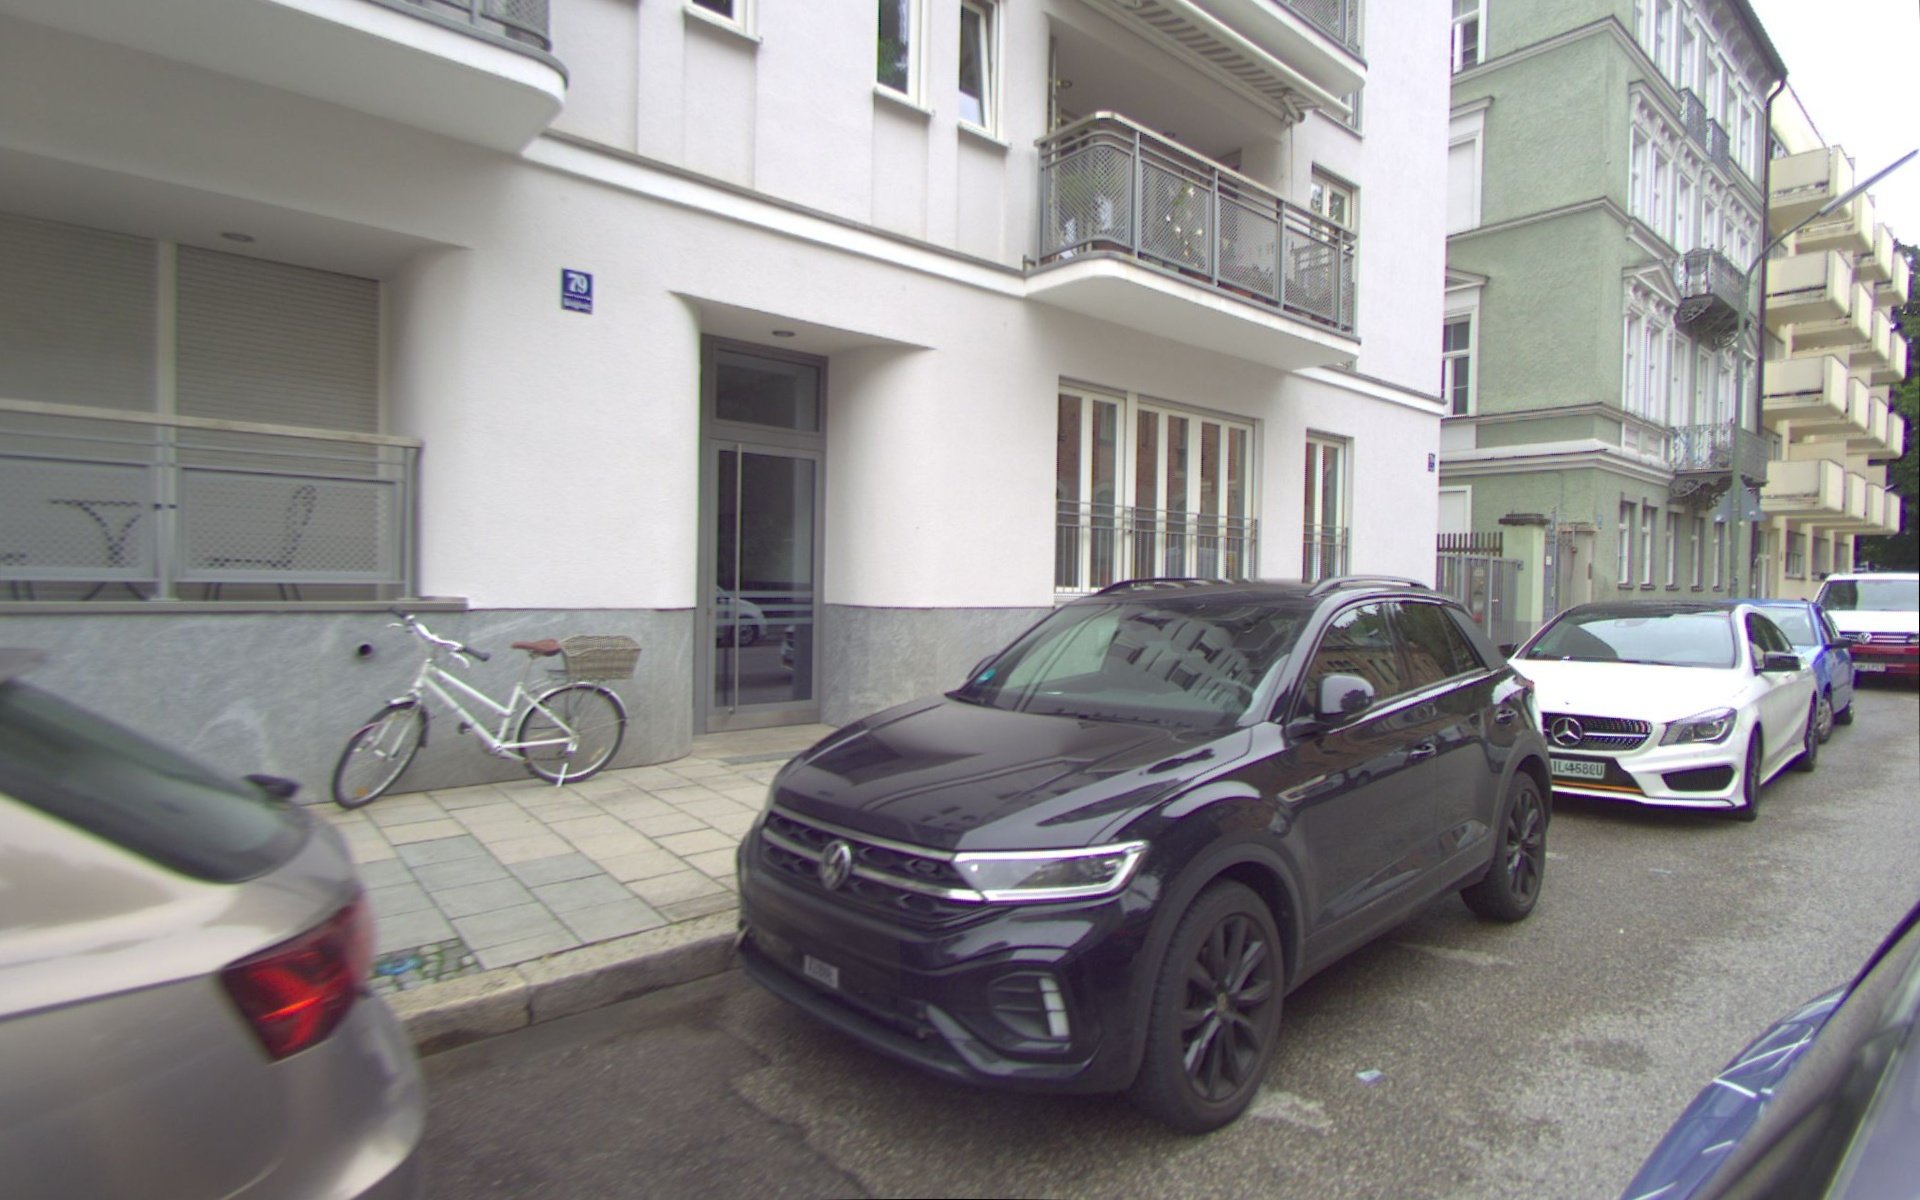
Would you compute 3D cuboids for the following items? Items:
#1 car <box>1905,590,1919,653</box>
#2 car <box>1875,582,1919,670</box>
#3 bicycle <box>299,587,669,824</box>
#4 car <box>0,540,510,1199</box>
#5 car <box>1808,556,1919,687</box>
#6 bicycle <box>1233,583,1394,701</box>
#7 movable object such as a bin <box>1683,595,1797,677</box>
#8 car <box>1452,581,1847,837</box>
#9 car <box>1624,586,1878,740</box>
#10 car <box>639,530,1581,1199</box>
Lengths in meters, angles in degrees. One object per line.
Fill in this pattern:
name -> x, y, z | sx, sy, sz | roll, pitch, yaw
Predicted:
car -> 24.783, 0.547, 24.965 | 4.261, 1.485, 1.752 | 1, 2, -42
car -> 20.899, 0.520, 21.329 | 4.615, 1.732, 1.859 | 0, 0, -41
bicycle -> -2.623, 0.514, 5.707 | 1.778, 1.111, 0.570 | 0, 4, -41
car -> -2.957, 0.679, 0.697 | 4.525, 1.501, 1.793 | 0, 0, -43
car -> 16.595, 0.343, 17.820 | 4.699, 2.056, 1.857 | 1, 0, -41
bicycle -> 3.905, 0.419, 11.110 | 1.939, 1.186, 0.803 | 0, 1, -41
movable object such as a bin -> 12.966, 0.566, 16.810 | 2.125, 1.207, 1.023 | 0, 3, -40
car -> 5.600, 0.629, 7.978 | 4.302, 1.485, 1.666 | 0, 0, -43
car -> 8.946, 0.597, 11.344 | 3.657, 1.441, 1.717 | 1, 0, -43
car -> 0.936, 0.620, 4.220 | 3.953, 1.552, 1.839 | 0, 0, -43
